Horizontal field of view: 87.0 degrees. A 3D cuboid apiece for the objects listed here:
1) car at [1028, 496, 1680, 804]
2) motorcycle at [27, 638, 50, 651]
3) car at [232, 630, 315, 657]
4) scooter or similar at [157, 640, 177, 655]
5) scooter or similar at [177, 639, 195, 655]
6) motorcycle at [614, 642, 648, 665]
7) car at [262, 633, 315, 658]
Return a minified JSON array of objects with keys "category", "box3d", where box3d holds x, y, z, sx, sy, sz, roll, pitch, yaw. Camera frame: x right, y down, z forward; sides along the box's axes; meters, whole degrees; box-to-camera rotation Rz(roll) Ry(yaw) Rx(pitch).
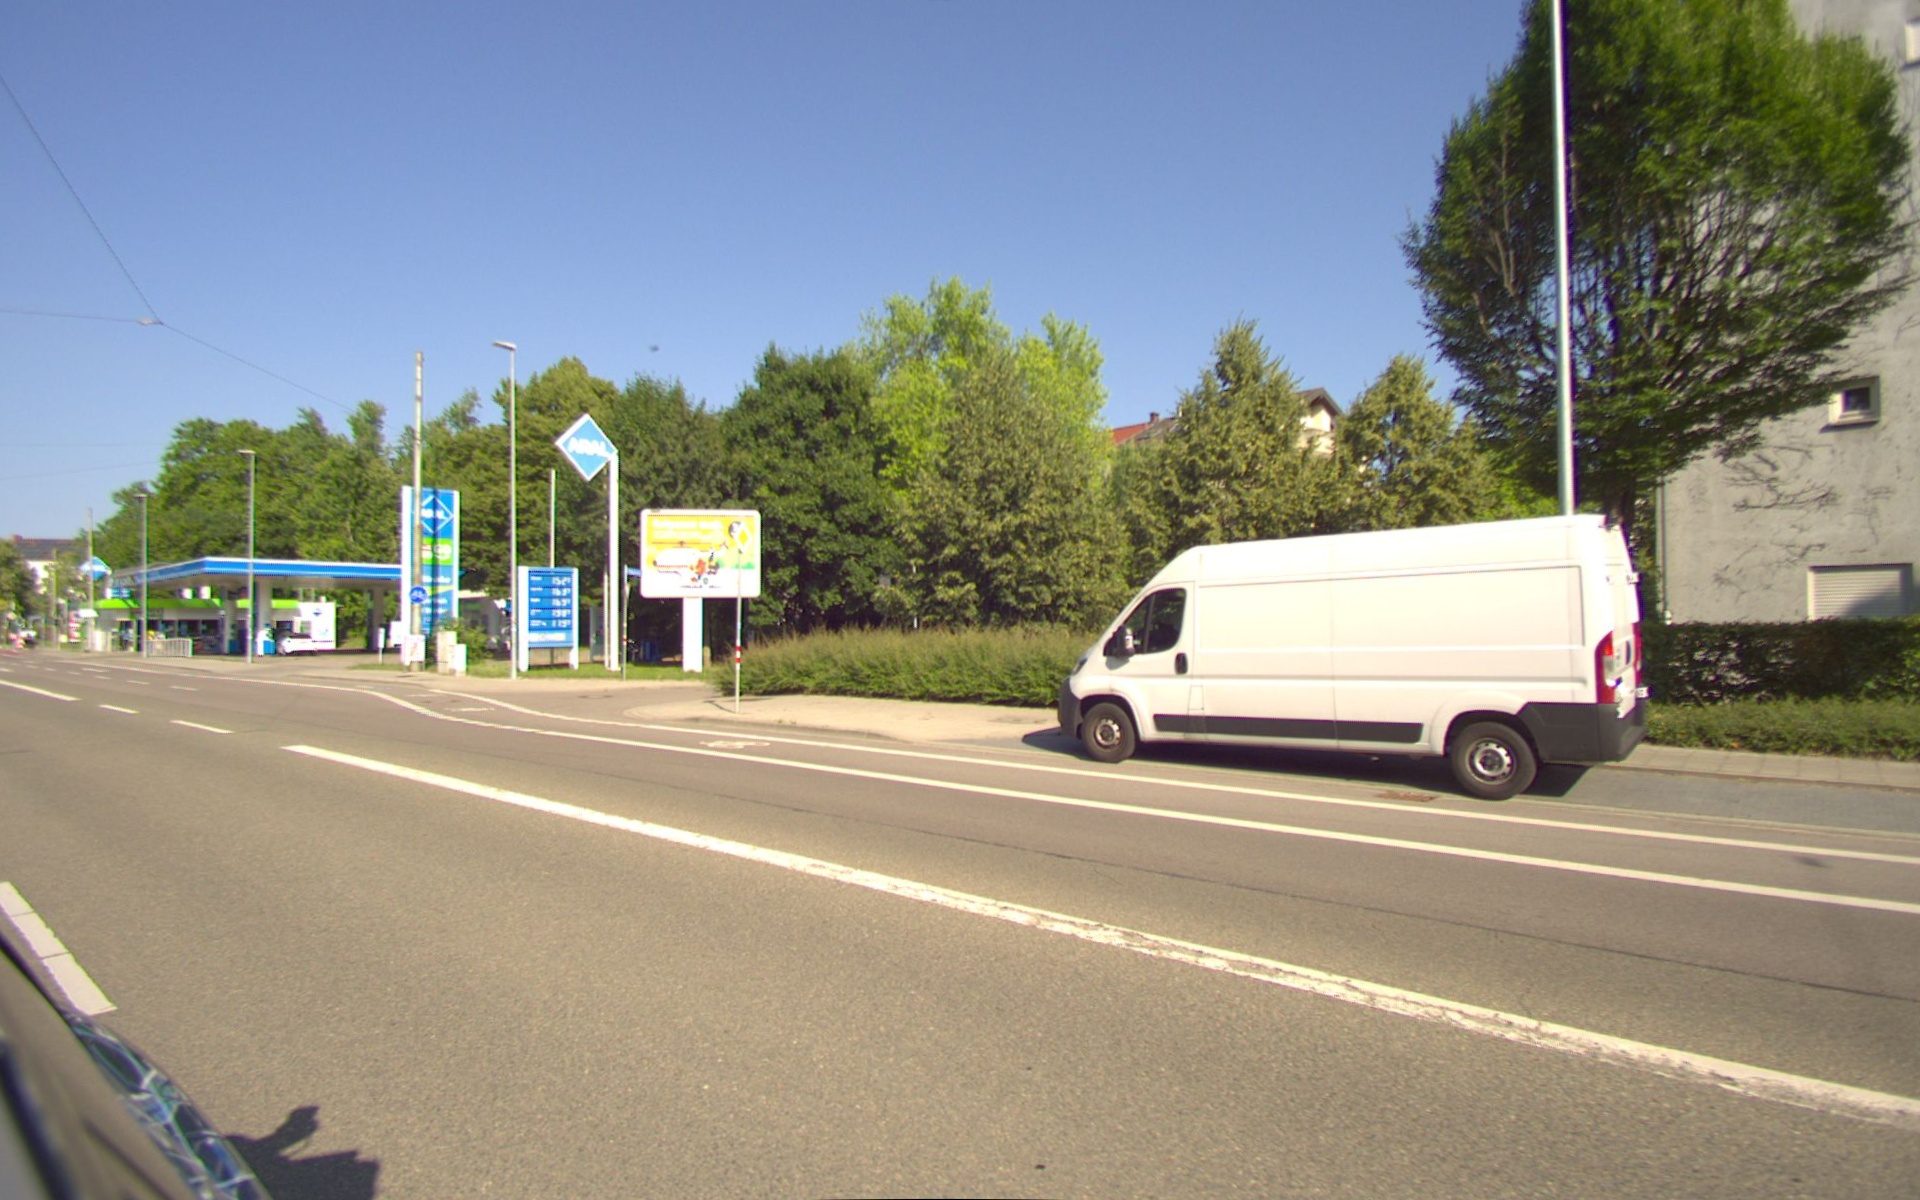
[{"category":"car","box3d":[3.891,0.463,10.965,6.178,2.476,2.131,-2,0,40]},{"category":"motorcycle","box3d":[-91.436,4.404,100.442,0.722,1.237,2.270,0,-2,-16]},{"category":"car","box3d":[-52.789,3.333,77.942,1.858,1.955,5.013,-2,-3,44]},{"category":"scooter or similar","box3d":[-57.705,3.452,73.649,1.127,1.125,0.351,1,-3,-40]},{"category":"scooter or similar","box3d":[-56.924,3.466,74.434,1.016,1.118,0.351,2,-3,-43]},{"category":"motorcycle","box3d":[-14.657,2.360,45.022,1.904,0.989,0.512,-2,-2,40]},{"category":"car","box3d":[-42.521,2.855,64.018,4.272,1.502,1.718,-2,-2,41]}]
